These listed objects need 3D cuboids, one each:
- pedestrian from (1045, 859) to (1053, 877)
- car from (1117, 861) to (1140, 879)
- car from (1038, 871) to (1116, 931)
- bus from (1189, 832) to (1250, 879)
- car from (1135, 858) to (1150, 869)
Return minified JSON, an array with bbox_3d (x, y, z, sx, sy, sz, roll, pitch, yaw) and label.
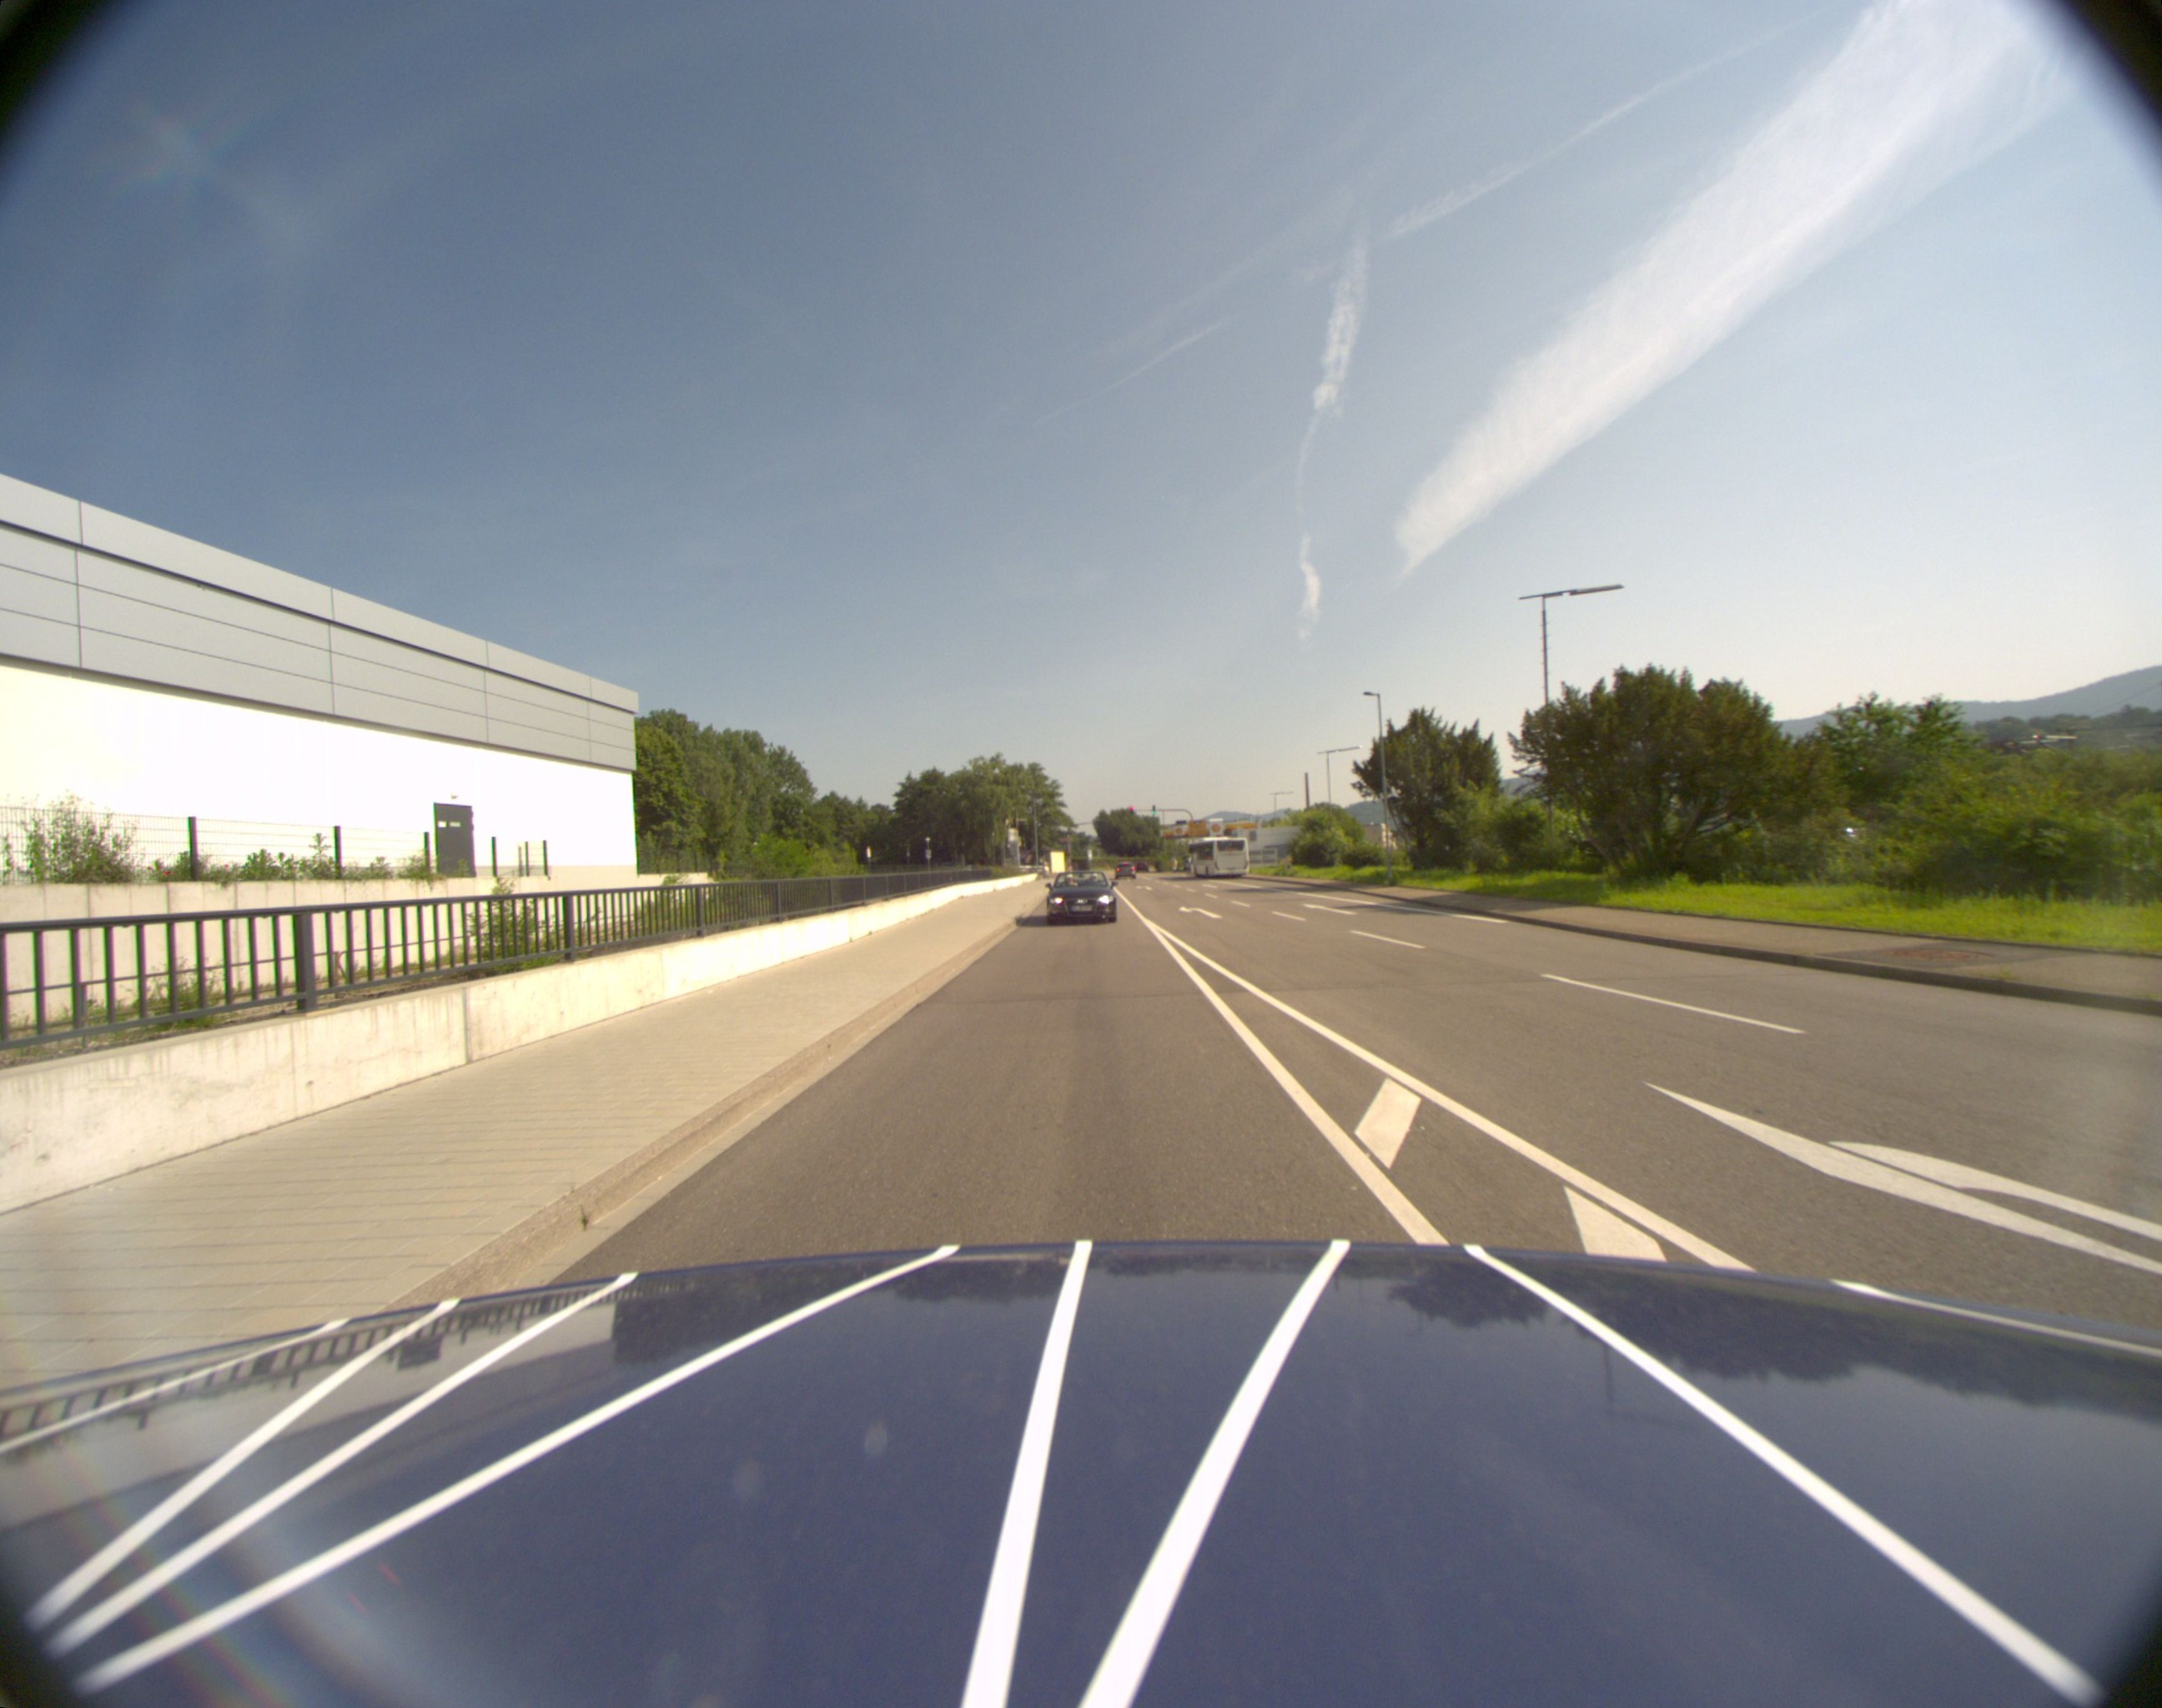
[{"bbox_3d":[-3.065,1.368,72.690,0.712,1.661,0.593,-2,0,-6],"label":"pedestrian"},{"bbox_3d":[4.085,1.345,66.272,1.776,1.464,4.220,-2,0,1],"label":"car"},{"bbox_3d":[-0.043,1.208,20.794,1.868,1.322,4.233,-2,0,1],"label":"car"},{"bbox_3d":[10.907,0.116,61.034,2.627,3.290,11.957,-2,0,0],"label":"bus"},{"bbox_3d":[8.903,1.339,110.843,1.842,1.483,4.432,-2,0,0],"label":"car"}]
